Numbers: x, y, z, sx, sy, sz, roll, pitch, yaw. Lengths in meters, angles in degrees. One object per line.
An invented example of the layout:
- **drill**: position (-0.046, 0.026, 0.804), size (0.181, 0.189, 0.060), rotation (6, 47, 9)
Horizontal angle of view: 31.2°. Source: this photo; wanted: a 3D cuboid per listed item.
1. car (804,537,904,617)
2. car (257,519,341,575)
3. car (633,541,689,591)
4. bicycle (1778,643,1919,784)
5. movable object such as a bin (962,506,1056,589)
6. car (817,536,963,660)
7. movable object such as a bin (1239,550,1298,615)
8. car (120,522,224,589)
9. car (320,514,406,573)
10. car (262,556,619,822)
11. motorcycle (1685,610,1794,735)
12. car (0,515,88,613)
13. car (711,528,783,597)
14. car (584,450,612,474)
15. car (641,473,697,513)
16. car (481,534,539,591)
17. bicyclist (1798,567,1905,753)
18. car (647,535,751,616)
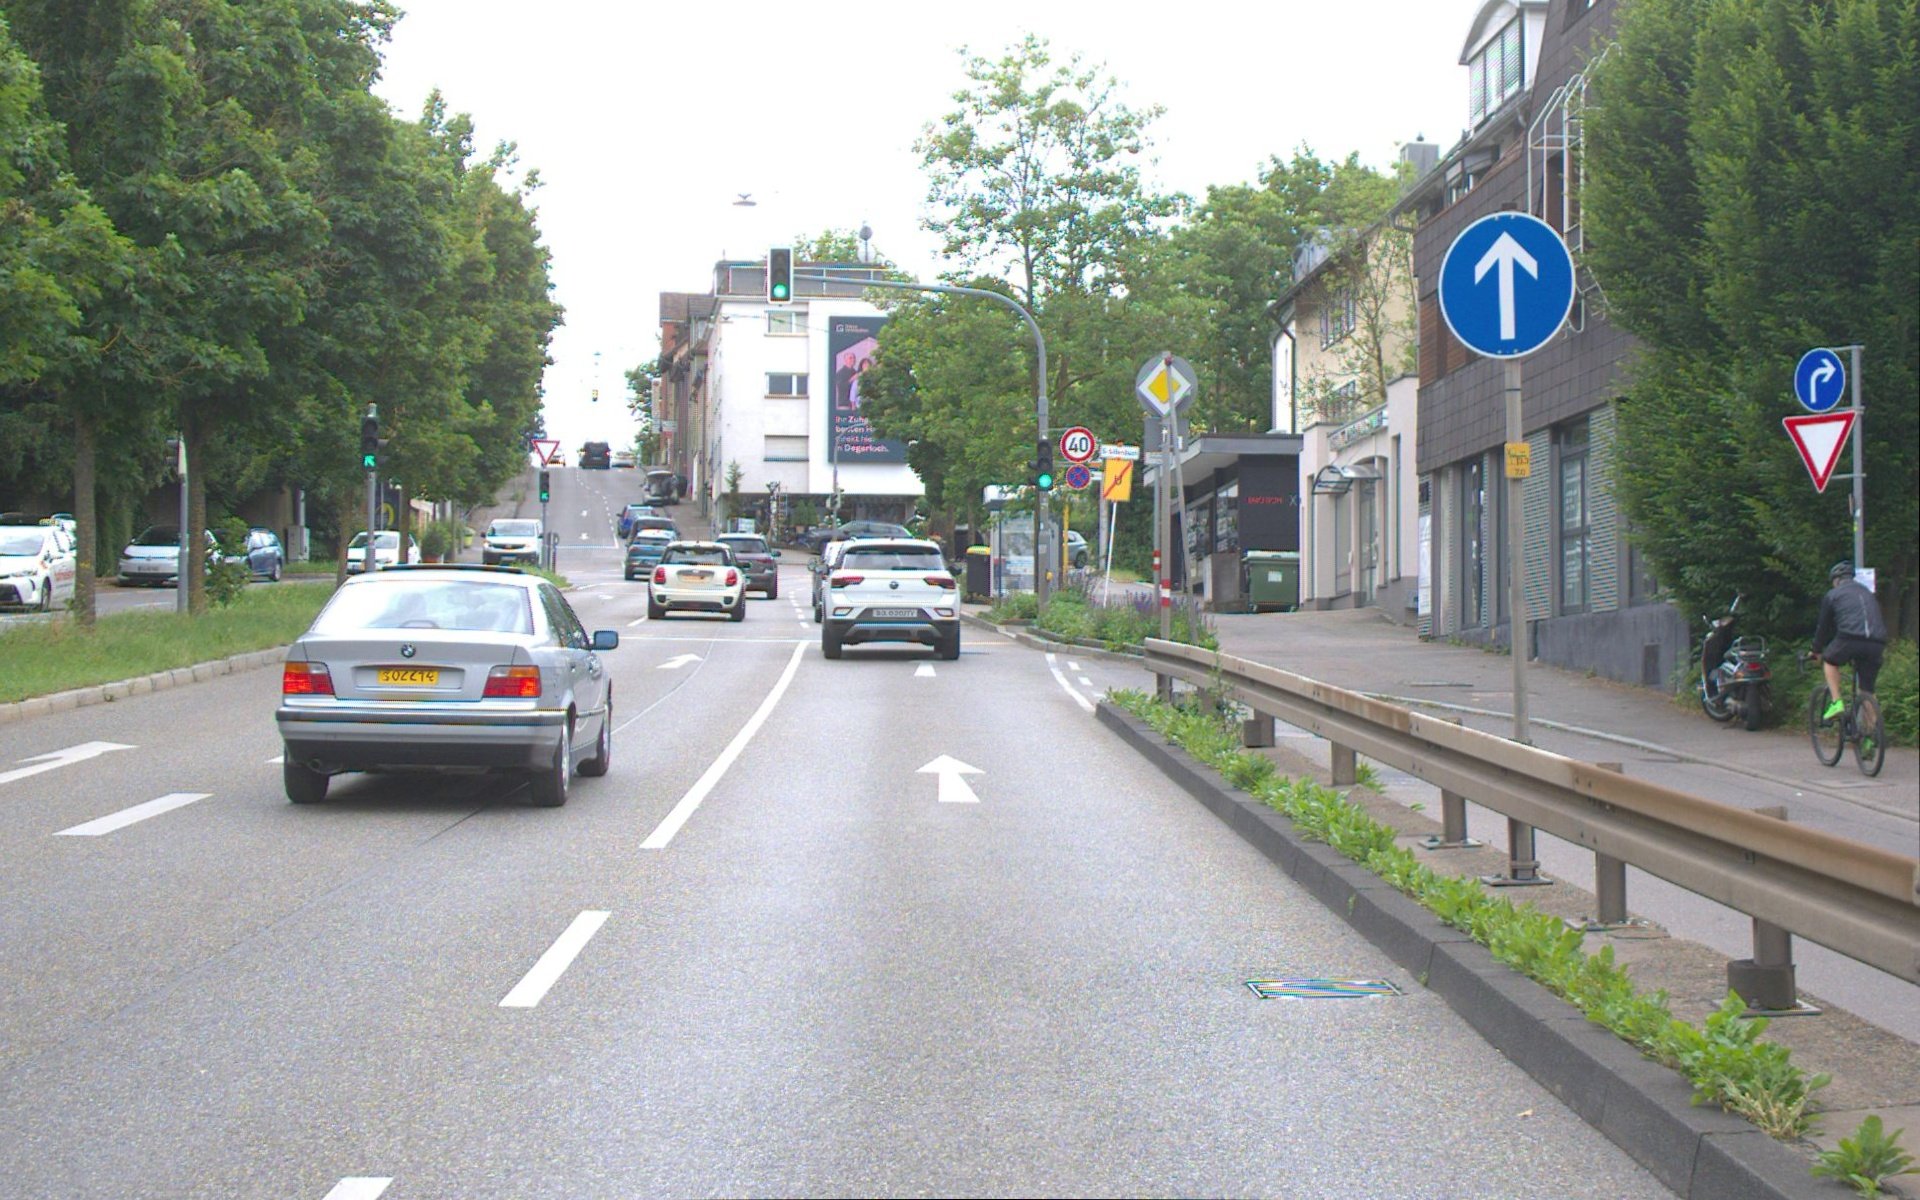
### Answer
- **car**: position (-1.969, -0.420, 62.951), size (1.722, 1.371, 3.457), rotation (-2, 0, -3)
- **car**: position (-19.418, -1.568, 101.124), size (1.860, 1.536, 4.280), rotation (2, 1, -3)
- **car**: position (-9.860, -1.110, 113.533), size (1.722, 1.577, 3.457), rotation (-2, 0, -4)
- **bicycle**: position (7.592, 0.950, 29.393), size (0.566, 1.059, 2.006), rotation (-2, 1, -3)
- **movable object such as a bin**: position (1.131, -1.242, 80.371), size (1.891, 1.863, 1.529), rotation (2, 1, -10)
- **car**: position (-0.952, -0.031, 45.454), size (1.797, 1.514, 3.457), rotation (-2, 0, -2)
- **movable object such as a bin**: position (6.949, -0.394, 77.380), size (1.195, 1.403, 0.711), rotation (2, 1, -1)
- **car**: position (-20.174, -1.160, 88.139), size (1.860, 1.588, 4.280), rotation (2, 1, -3)
- **car**: position (-16.763, -1.611, 96.613), size (1.860, 1.536, 4.280), rotation (2, 1, -3)
- **car**: position (-3.108, 0.465, 21.360), size (1.634, 1.378, 4.620), rotation (1, 1, -2)
- **motorcycle**: position (7.850, 0.717, 34.700), size (0.608, 1.158, 2.041), rotation (-1, 1, -1)
- **car**: position (-17.464, -0.696, 63.362), size (1.860, 1.664, 4.280), rotation (2, 1, -3)
- **car**: position (-5.389, -0.941, 86.821), size (1.722, 1.634, 3.457), rotation (-2, 0, -4)
- **car**: position (-24.691, -9.402, 234.713), size (1.822, 1.503, 4.001), rotation (2, 1, -5)
- **car**: position (-15.515, -5.702, 183.563), size (2.510, 2.007, 5.181), rotation (2, 1, -1)
- **car**: position (-15.547, -1.305, 118.949), size (1.668, 1.859, 3.245), rotation (-2, 2, -2)
- **bicyclist**: position (7.571, 0.498, 29.225), size (0.566, 1.519, 0.959), rotation (-2, 1, -3)
- **car**: position (-4.726, -0.446, 62.636), size (1.722, 1.371, 3.457), rotation (-2, 0, -2)
